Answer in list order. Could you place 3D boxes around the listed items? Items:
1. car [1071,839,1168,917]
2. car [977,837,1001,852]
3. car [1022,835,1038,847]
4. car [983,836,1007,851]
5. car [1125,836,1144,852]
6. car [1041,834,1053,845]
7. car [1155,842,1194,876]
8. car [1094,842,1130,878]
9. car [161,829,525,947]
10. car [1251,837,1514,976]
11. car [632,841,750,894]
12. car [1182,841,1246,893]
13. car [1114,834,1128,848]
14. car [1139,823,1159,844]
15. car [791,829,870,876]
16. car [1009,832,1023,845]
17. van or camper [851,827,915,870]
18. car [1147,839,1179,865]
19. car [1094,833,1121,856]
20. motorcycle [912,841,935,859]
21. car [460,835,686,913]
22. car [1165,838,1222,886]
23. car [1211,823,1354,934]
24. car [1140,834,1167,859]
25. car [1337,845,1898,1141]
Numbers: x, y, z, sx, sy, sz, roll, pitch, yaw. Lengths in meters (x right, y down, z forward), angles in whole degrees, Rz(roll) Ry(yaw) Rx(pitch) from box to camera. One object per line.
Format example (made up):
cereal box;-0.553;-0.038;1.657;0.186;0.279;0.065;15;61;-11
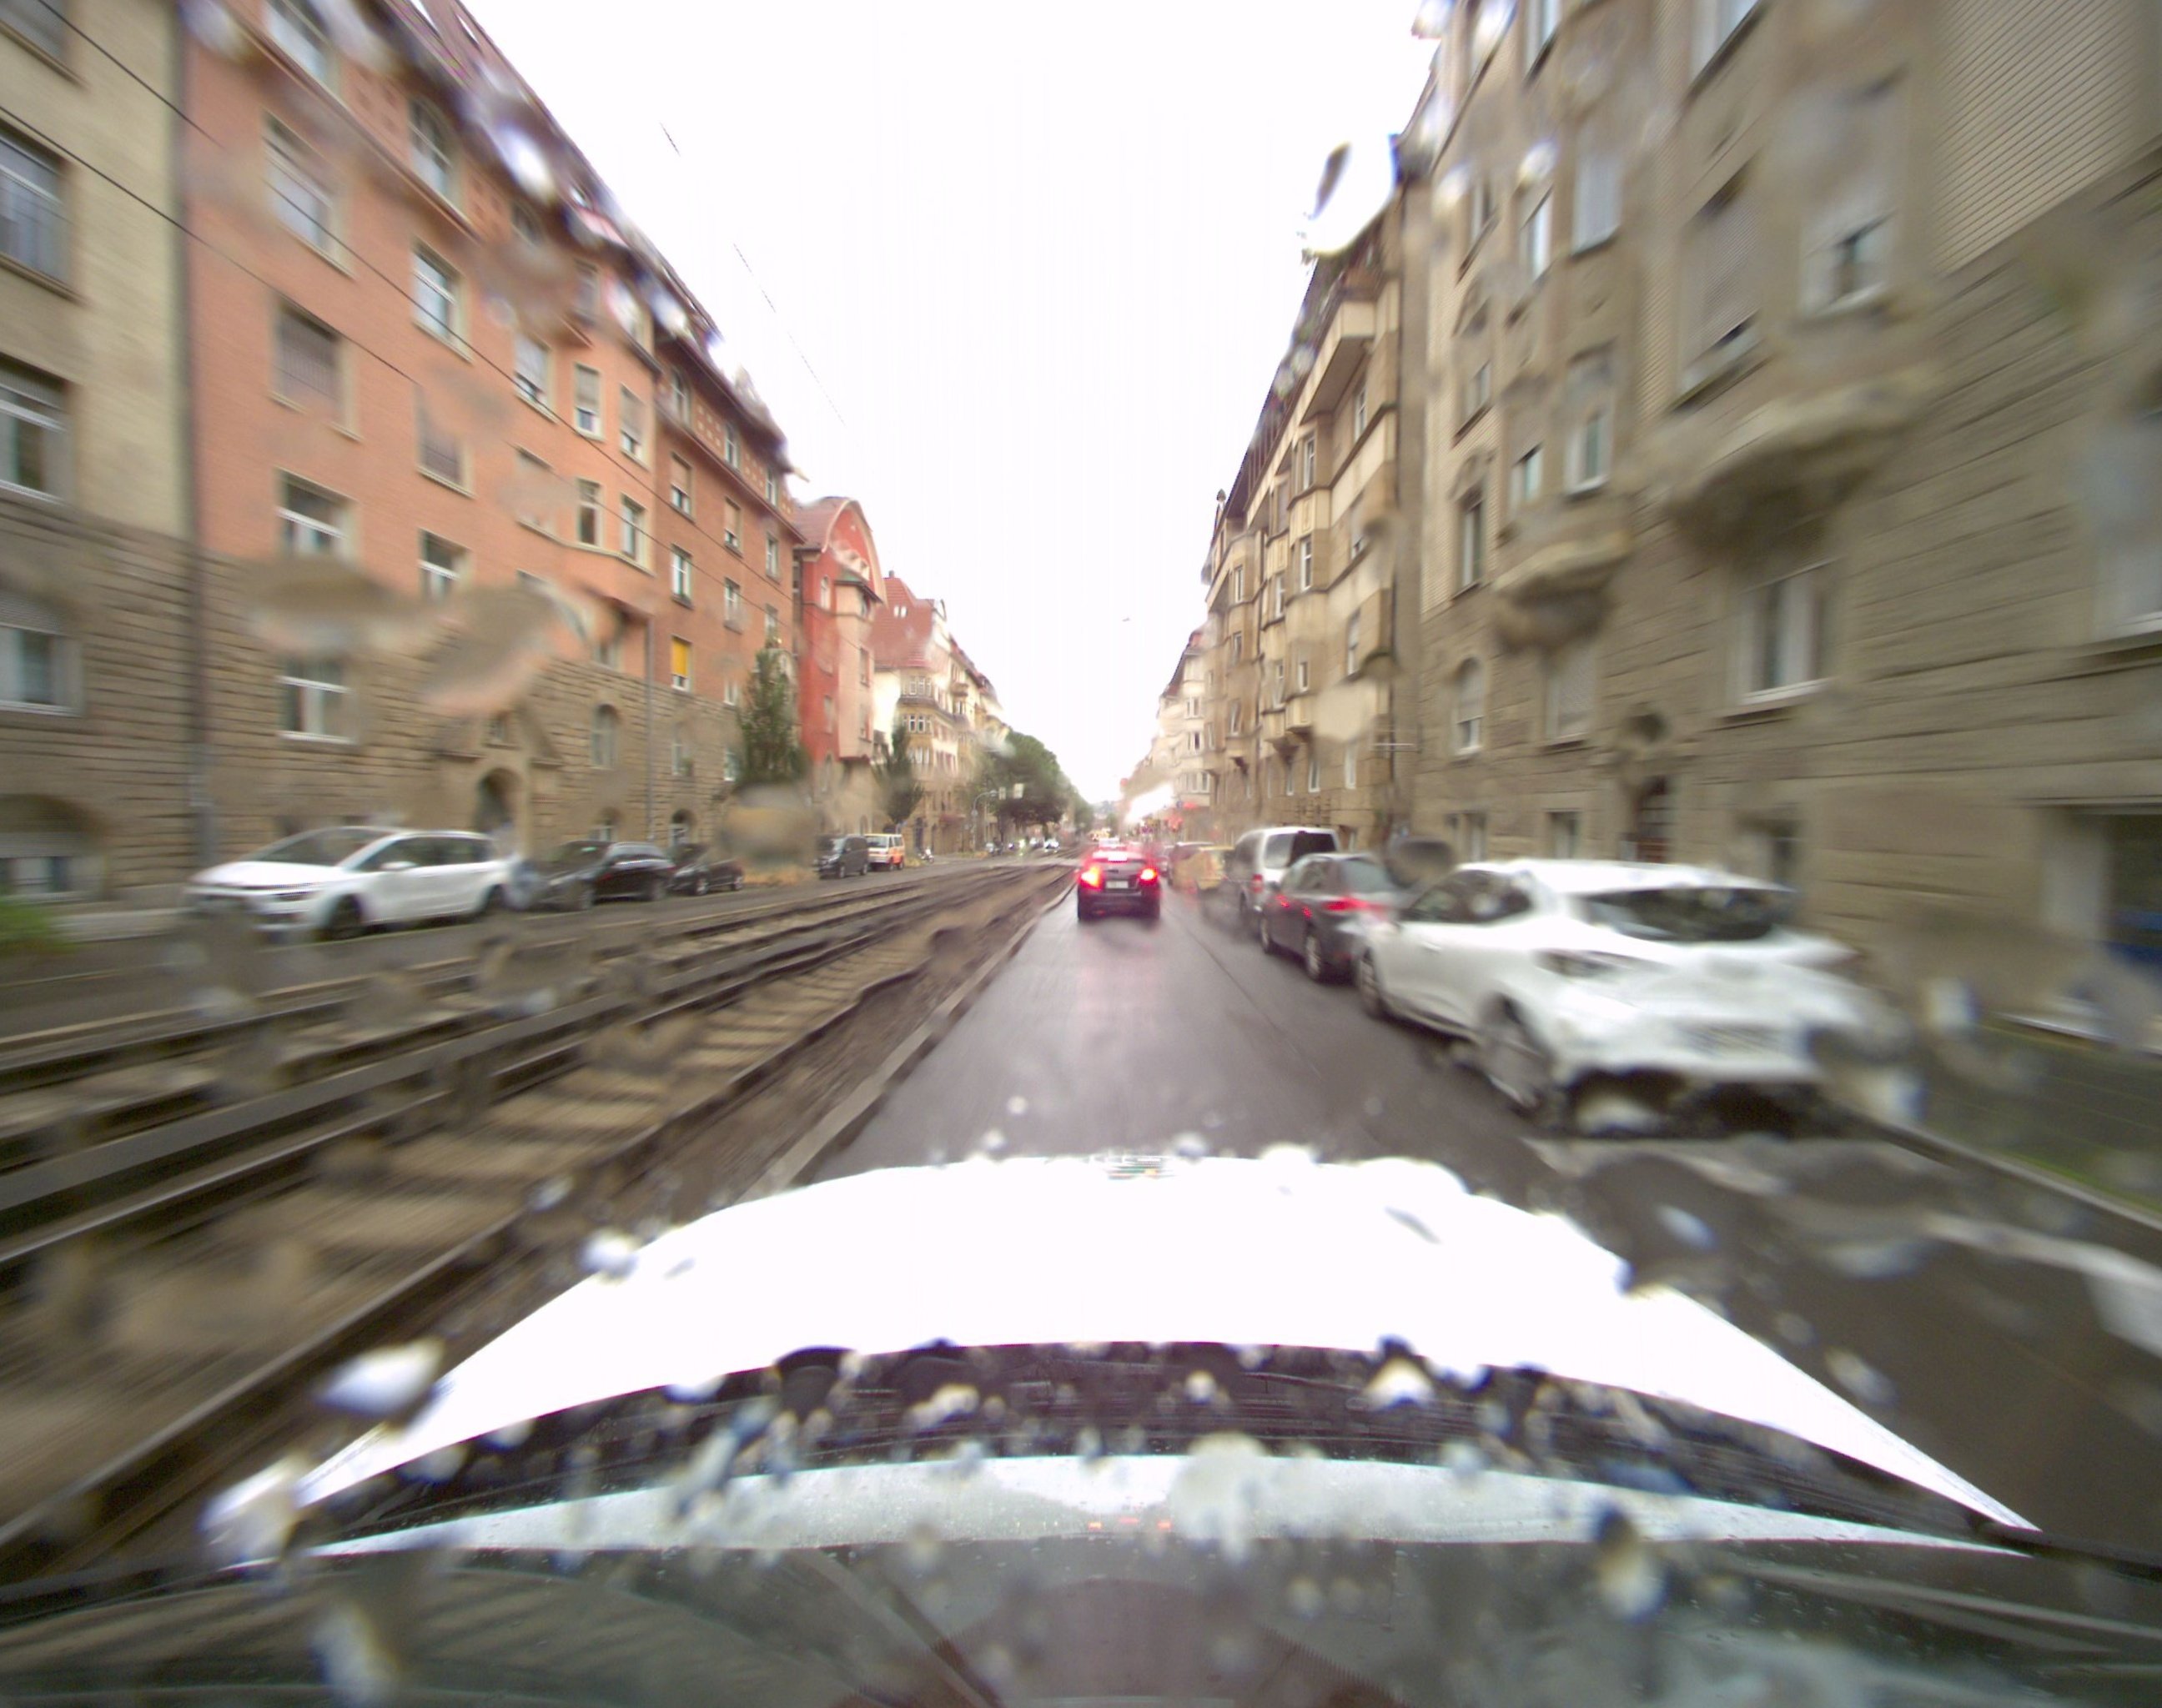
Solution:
car;0.800;0.479;18.173;1.939;1.564;3.643;0;0;1
car;-9.289;-0.992;82.507;1.764;1.464;4.002;0;0;2
car;-7.841;-1.977;126.024;1.986;1.793;4.003;1;1;2
car;-9.247;-1.131;87.832;1.986;1.517;4.003;1;1;2
car;6.283;-1.177;95.939;1.763;1.775;3.997;0;0;-2
car;-5.100;-2.204;121.867;1.791;1.548;3.998;0;1;-2
car;4.485;0.209;39.600;1.631;1.542;3.468;1;1;2
car;1.398;0.212;36.816;1.530;1.510;4.003;1;1;2
car;-11.614;0.423;13.347;1.777;1.589;4.356;-1;1;4
car;3.567;0.534;10.503;1.986;1.441;4.001;0;1;1
car;-11.302;0.330;23.897;1.637;1.398;3.883;1;1;-1
car;4.076;0.358;25.407;1.553;1.478;3.463;1;1;2
car;5.225;-1.657;107.263;1.845;1.797;3.814;0;0;2
car;6.915;-2.033;83.576;1.891;2.028;4.178;0;0;2
car;-10.958;-0.084;36.010;1.987;1.901;4.699;-1;1;0
car;-8.717;-2.035;108.778;1.786;1.691;3.995;0;1;-4
van or camper;-10.530;-0.333;43.748;1.987;1.901;4.699;-9;1;0
car;4.688;-0.113;46.825;1.597;1.419;3.149;0;1;1
car;1.955;-0.725;61.456;1.915;1.655;4.000;1;1;0
motorcycle;-10.473;-0.266;54.258;1.423;1.134;0.624;1;1;31
car;-11.541;0.352;19.050;1.986;1.509;4.977;2;1;2
car;4.080;0.249;30.038;1.704;1.628;4.003;1;1;3
car;3.593;0.348;15.277;1.767;1.776;4.363;0;1;2
car;4.615;-0.505;52.134;1.543;1.508;4.003;1;1;2
car;3.316;0.680;6.094;1.669;1.411;4.003;0;2;2
